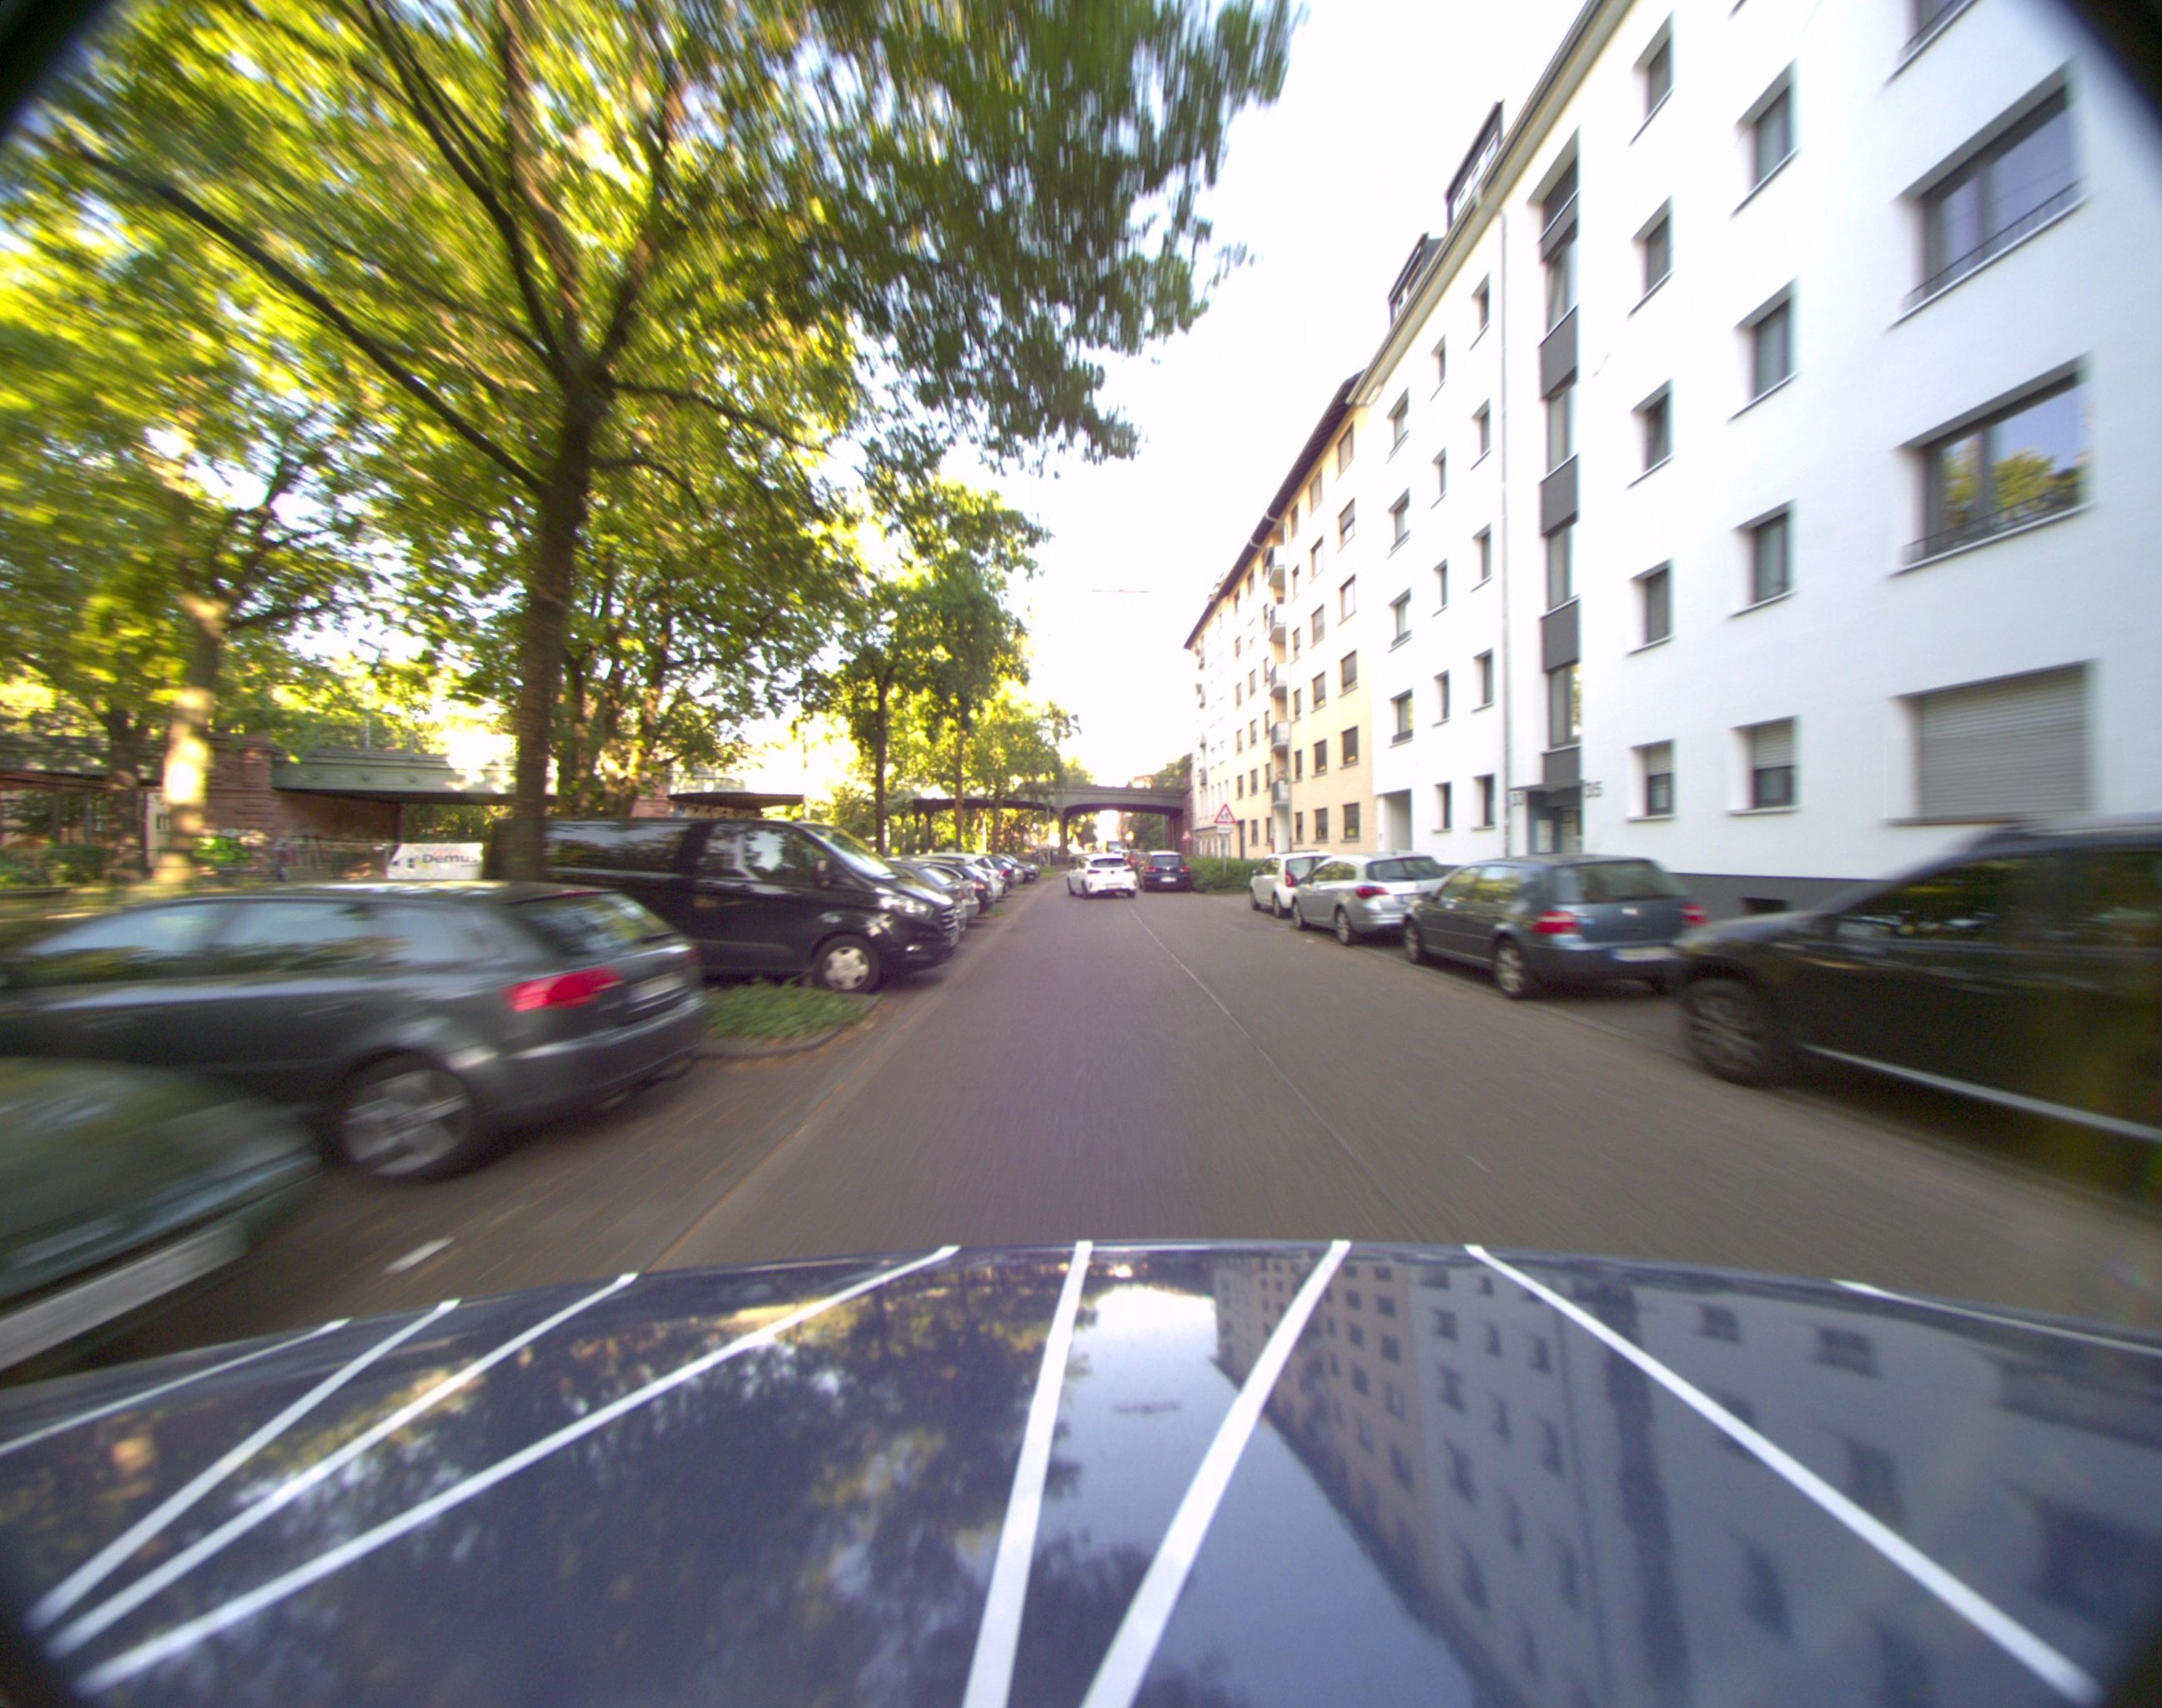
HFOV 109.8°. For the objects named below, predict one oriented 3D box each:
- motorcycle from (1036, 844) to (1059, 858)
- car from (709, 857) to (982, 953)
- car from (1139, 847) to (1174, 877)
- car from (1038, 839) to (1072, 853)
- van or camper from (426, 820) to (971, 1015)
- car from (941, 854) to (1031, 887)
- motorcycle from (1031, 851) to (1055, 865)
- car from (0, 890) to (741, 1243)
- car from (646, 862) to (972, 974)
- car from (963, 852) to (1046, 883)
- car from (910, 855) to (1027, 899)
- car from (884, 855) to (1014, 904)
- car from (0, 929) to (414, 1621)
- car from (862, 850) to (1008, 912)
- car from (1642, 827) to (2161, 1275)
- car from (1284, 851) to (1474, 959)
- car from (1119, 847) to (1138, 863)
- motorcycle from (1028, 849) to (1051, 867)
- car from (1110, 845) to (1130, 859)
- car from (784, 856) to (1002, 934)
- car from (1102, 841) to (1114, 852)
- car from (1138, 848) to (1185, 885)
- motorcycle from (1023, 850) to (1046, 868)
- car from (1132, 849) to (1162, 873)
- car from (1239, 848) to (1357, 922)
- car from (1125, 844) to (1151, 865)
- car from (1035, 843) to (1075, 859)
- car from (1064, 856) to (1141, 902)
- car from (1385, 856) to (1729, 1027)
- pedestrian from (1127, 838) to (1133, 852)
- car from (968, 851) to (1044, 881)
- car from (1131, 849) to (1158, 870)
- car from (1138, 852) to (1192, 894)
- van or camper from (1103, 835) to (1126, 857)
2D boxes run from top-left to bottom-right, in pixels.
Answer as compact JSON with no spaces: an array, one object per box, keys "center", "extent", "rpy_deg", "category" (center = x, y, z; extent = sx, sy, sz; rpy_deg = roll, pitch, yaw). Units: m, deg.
[{"center":[-3.156,-0.312,71.419],"extent":[1.938,1.231,0.902],"rpy_deg":[-3,3,-25],"category":"motorcycle"},{"center":[-4.141,0.874,13.801],"extent":[4.409,1.569,1.664],"rpy_deg":[0,2,3],"category":"car"},{"center":[3.915,0.382,39.900],"extent":[1.570,1.509,3.782],"rpy_deg":[-1,1,2],"category":"car"},{"center":[-3.662,-1.129,107.252],"extent":[4.683,1.914,1.871],"rpy_deg":[1,2,-1],"category":"car"},{"center":[-4.197,0.660,8.976],"extent":[5.426,2.015,2.030],"rpy_deg":[0,0,3],"category":"van or camper"},{"center":[-4.222,0.726,34.144],"extent":[3.792,1.394,1.663],"rpy_deg":[0,2,0],"category":"car"},{"center":[-3.265,0.311,65.538],"extent":[1.839,1.126,0.849],"rpy_deg":[-3,3,-23],"category":"motorcycle"},{"center":[-4.540,0.987,4.258],"extent":[4.411,1.432,1.837],"rpy_deg":[0,1,-1],"category":"car"},{"center":[-4.020,0.927,11.871],"extent":[4.411,1.492,1.836],"rpy_deg":[0,2,-3],"category":"car"},{"center":[-3.671,0.640,36.824],"extent":[3.791,1.394,1.827],"rpy_deg":[0,2,1],"category":"car"},{"center":[-3.942,0.775,26.917],"extent":[3.790,1.439,1.664],"rpy_deg":[0,2,6],"category":"car"},{"center":[-4.158,0.798,24.335],"extent":[3.791,1.465,1.664],"rpy_deg":[0,2,3],"category":"car"},{"center":[-4.623,1.005,1.859],"extent":[4.409,1.432,1.837],"rpy_deg":[0,1,3],"category":"car"},{"center":[-4.087,0.737,21.698],"extent":[3.791,1.637,1.664],"rpy_deg":[0,2,1],"category":"car"},{"center":[5.003,0.736,3.467],"extent":[1.756,1.696,4.200],"rpy_deg":[-2,1,0],"category":"car"},{"center":[5.024,0.759,13.483],"extent":[1.672,1.463,4.283],"rpy_deg":[-4,1,1],"category":"car"},{"center":[4.948,0.053,79.707],"extent":[1.599,1.538,3.913],"rpy_deg":[0,1,-2],"category":"car"},{"center":[-3.336,0.338,61.243],"extent":[1.601,1.400,0.713],"rpy_deg":[-1,3,20],"category":"motorcycle"},{"center":[4.548,-0.231,89.199],"extent":[1.749,1.458,4.372],"rpy_deg":[-2,2,-3],"category":"car"},{"center":[-4.102,0.871,16.975],"extent":[4.408,1.569,1.664],"rpy_deg":[0,2,5],"category":"car"},{"center":[3.949,-1.143,109.777],"extent":[1.703,1.489,4.548],"rpy_deg":[1,2,2],"category":"car"},{"center":[3.566,0.531,34.253],"extent":[1.707,1.516,3.773],"rpy_deg":[-1,1,0],"category":"car"},{"center":[-3.698,0.385,60.336],"extent":[1.601,1.400,0.713],"rpy_deg":[-1,3,20],"category":"motorcycle"},{"center":[4.400,0.451,51.016],"extent":[1.641,1.458,3.999],"rpy_deg":[2,1,1],"category":"car"},{"center":[5.155,0.670,18.584],"extent":[1.672,1.499,3.999],"rpy_deg":[-4,1,0],"category":"car"},{"center":[4.736,0.046,63.867],"extent":[1.721,1.698,4.321],"rpy_deg":[0,1,-2],"category":"car"},{"center":[-3.075,-0.325,90.035],"extent":[4.544,1.686,1.906],"rpy_deg":[-2,2,-1],"category":"car"},{"center":[0.648,0.799,25.956],"extent":[1.674,1.422,3.995],"rpy_deg":[2,0,-13],"category":"car"},{"center":[5.132,0.806,8.921],"extent":[1.619,1.443,4.000],"rpy_deg":[-3,0,3],"category":"car"},{"center":[6.781,-1.265,105.585],"extent":[0.639,1.904,1.046],"rpy_deg":[-2,3,-6],"category":"pedestrian"},{"center":[-3.798,0.603,39.104],"extent":[3.793,1.464,1.634],"rpy_deg":[0,2,-3],"category":"car"},{"center":[4.657,0.352,56.334],"extent":[1.693,1.433,3.999],"rpy_deg":[-1,1,1],"category":"car"},{"center":[3.143,0.656,29.012],"extent":[1.743,1.471,4.000],"rpy_deg":[0,1,2],"category":"car"},{"center":[4.162,-1.070,95.546],"extent":[2.242,2.509,6.417],"rpy_deg":[-2,2,-3],"category":"van or camper"}]
